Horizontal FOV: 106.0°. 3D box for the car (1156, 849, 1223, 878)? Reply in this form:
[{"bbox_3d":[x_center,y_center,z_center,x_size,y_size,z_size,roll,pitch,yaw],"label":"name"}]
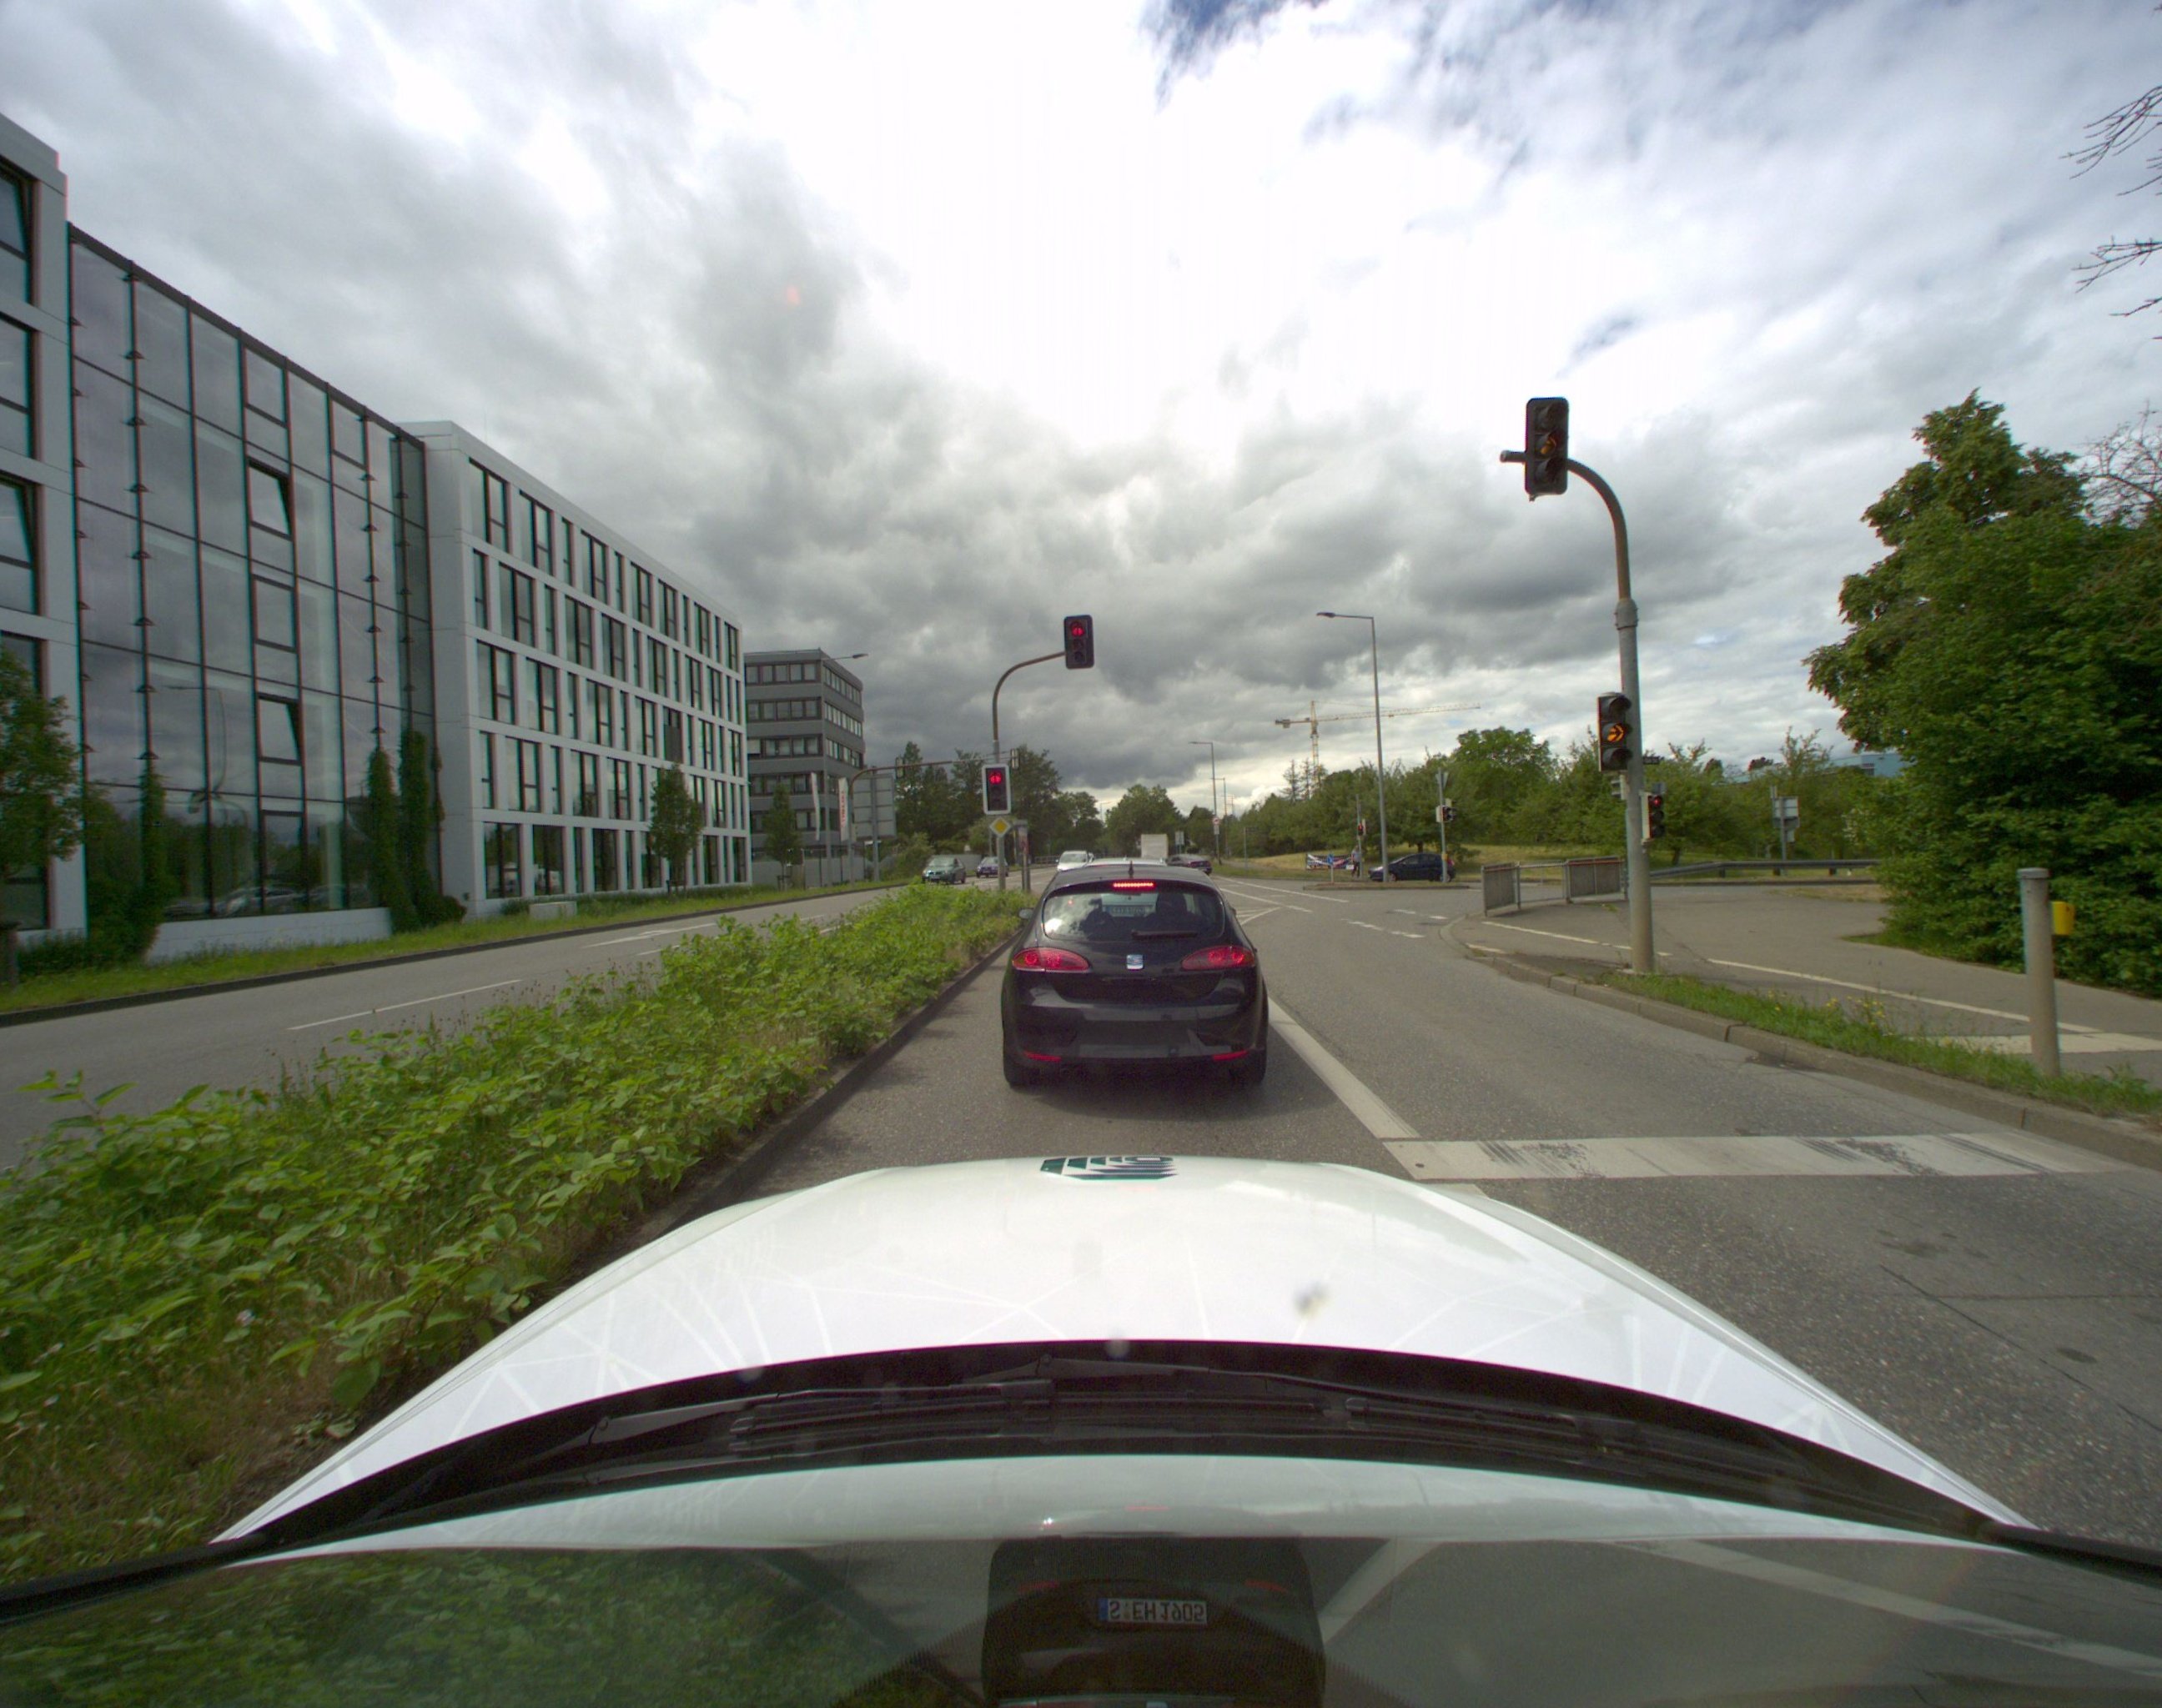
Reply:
[{"bbox_3d":[6.313,0.566,47.744,2.001,1.565,4.439,-1,0,-21],"label":"car"}]

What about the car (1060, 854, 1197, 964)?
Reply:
[{"bbox_3d":[0.741,0.760,12.808,1.827,1.467,3.754,0,0,3],"label":"car"}]

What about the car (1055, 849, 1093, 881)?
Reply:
[{"bbox_3d":[-0.356,0.594,46.360,1.812,1.686,4.650,0,0,4],"label":"car"}]

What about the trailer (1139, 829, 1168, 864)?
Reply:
[{"bbox_3d":[6.563,-0.619,73.655,2.479,3.073,5.595,0,-1,5],"label":"trailer"}]

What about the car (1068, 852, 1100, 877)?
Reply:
[{"bbox_3d":[0.228,0.643,52.426,1.652,1.518,4.091,-1,0,6],"label":"car"}]

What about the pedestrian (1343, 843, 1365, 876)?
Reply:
[{"bbox_3d":[14.828,0.307,44.205,0.718,1.793,1.040,0,-1,-11],"label":"pedestrian"}]

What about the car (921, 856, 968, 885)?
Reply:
[{"bbox_3d":[-7.272,0.840,43.734,1.598,1.432,3.757,-1,0,4],"label":"car"}]

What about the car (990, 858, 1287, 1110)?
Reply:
[{"bbox_3d":[0.390,0.768,6.455,1.704,1.417,3.461,-1,0,2],"label":"car"}]

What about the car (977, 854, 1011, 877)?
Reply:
[{"bbox_3d":[-5.948,0.774,55.974,1.546,1.419,3.902,-1,0,5],"label":"car"}]

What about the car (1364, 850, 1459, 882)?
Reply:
[{"bbox_3d":[15.595,0.577,38.580,3.858,1.446,1.763,0,-1,7],"label":"car"}]
